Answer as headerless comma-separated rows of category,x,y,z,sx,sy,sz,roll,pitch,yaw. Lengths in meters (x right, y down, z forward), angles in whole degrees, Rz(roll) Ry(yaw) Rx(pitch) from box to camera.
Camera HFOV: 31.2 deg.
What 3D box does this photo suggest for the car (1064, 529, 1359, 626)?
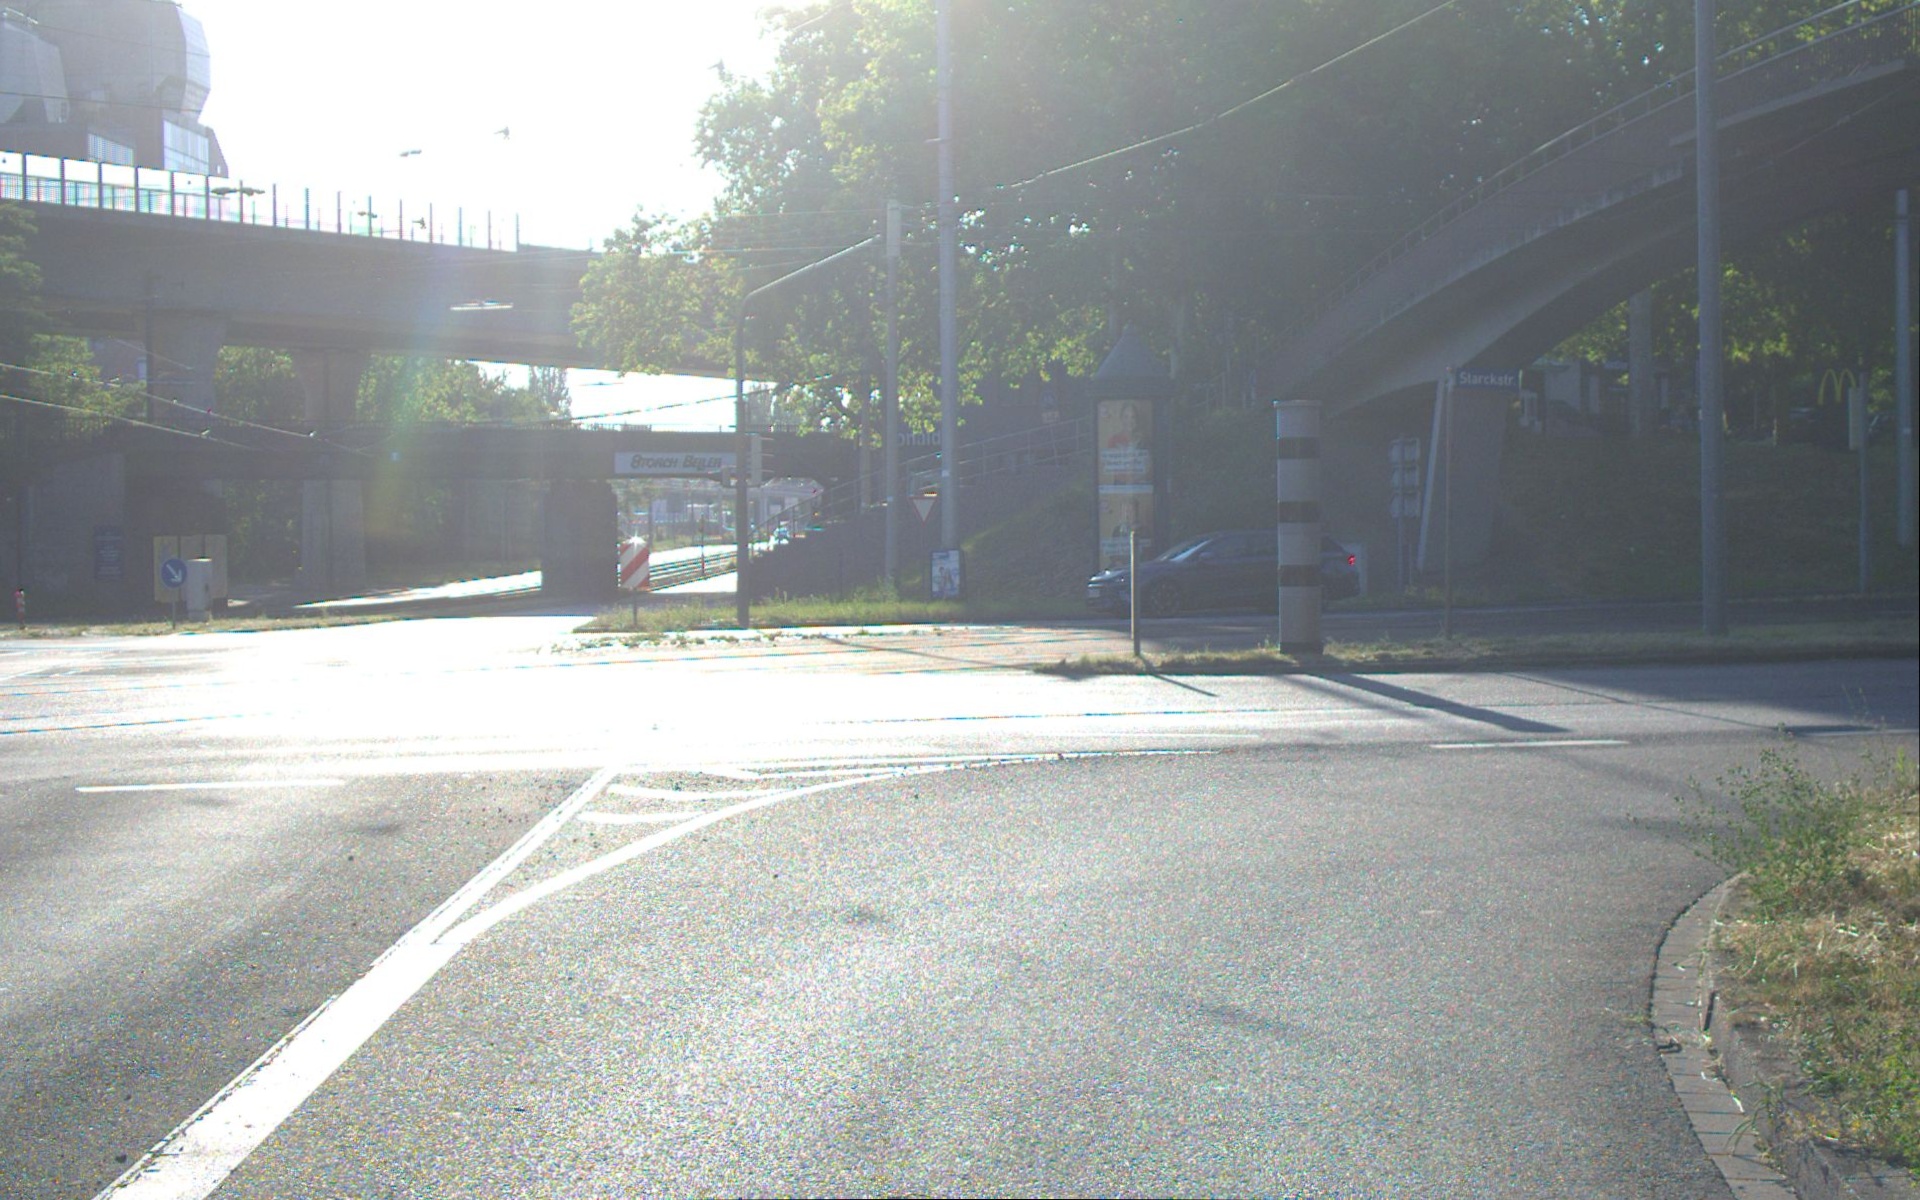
car,4.176,-0.370,57.092,4.574,1.569,1.694,0,1,-17
